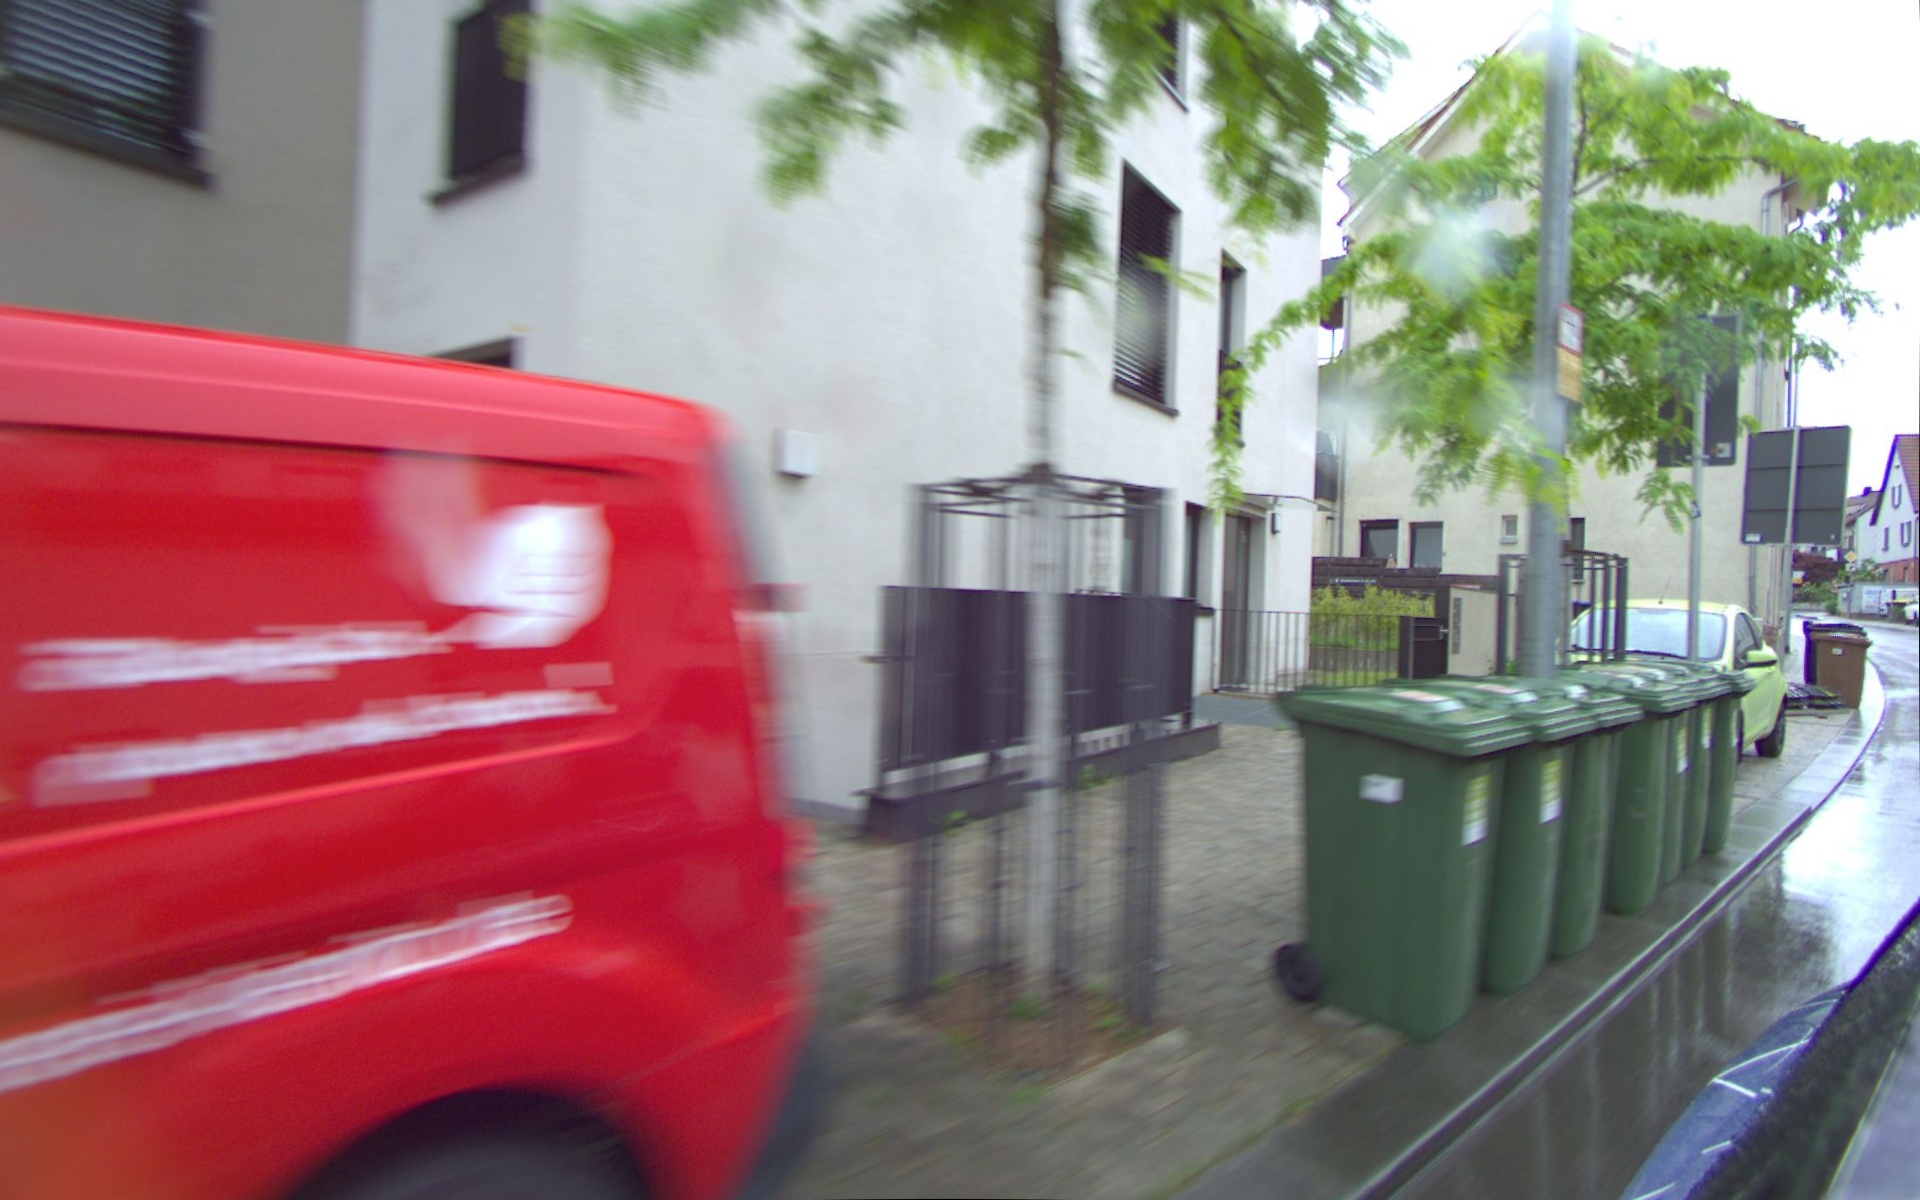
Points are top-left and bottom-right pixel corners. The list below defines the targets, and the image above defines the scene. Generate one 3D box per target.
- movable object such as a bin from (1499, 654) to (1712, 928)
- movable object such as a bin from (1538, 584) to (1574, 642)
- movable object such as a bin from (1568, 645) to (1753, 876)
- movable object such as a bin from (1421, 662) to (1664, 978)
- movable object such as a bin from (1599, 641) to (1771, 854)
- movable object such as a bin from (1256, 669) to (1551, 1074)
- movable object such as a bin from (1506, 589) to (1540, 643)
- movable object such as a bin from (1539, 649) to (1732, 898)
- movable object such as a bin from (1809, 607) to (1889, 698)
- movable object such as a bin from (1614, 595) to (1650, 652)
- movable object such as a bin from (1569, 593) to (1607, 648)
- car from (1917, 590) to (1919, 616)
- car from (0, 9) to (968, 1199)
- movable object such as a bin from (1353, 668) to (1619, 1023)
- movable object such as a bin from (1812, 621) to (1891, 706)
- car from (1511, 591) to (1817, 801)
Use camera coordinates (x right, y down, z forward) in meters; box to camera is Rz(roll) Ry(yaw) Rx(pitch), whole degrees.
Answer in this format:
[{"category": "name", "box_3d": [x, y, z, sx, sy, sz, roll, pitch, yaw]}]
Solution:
[{"category": "movable object such as a bin", "box_3d": [3.044, 0.839, 4.783, 0.591, 1.101, 0.710, 1, 1, -44]}, {"category": "movable object such as a bin", "box_3d": [13.024, 0.270, 22.142, 0.580, 1.199, 0.714, 4, 3, 28]}, {"category": "movable object such as a bin", "box_3d": [3.842, 0.830, 5.558, 0.591, 1.101, 0.710, 1, 1, -44]}, {"category": "movable object such as a bin", "box_3d": [2.425, 0.848, 4.230, 0.591, 1.101, 0.710, 1, 1, -41]}, {"category": "movable object such as a bin", "box_3d": [4.282, 0.825, 5.983, 0.591, 1.101, 0.710, 1, 1, -44]}, {"category": "movable object such as a bin", "box_3d": [1.486, 0.825, 3.421, 0.591, 1.101, 0.710, 1, 1, -41]}, {"category": "movable object such as a bin", "box_3d": [12.466, 0.338, 22.405, 0.580, 1.122, 0.714, 4, 3, 28]}, {"category": "movable object such as a bin", "box_3d": [3.441, 0.834, 5.169, 0.507, 1.101, 0.703, 1, 1, -44]}, {"category": "movable object such as a bin", "box_3d": [13.885, 0.788, 15.797, 0.796, 1.263, 1.224, 5, 4, 44]}, {"category": "movable object such as a bin", "box_3d": [14.246, 0.490, 21.469, 0.506, 1.122, 0.714, 4, 3, 28]}, {"category": "movable object such as a bin", "box_3d": [13.560, 0.433, 21.867, 0.580, 1.122, 0.714, 4, 3, 28]}, {"category": "car", "box_3d": [54.128, 0.186, 55.361, 1.987, 1.464, 3.950, 0, 1, 35]}, {"category": "car", "box_3d": [-2.319, 0.322, 1.168, 4.522, 1.930, 1.840, -1, 3, -40]}, {"category": "movable object such as a bin", "box_3d": [1.984, 0.850, 3.836, 0.591, 1.101, 0.710, 1, 1, -41]}, {"category": "movable object such as a bin", "box_3d": [13.025, 0.907, 14.790, 0.761, 1.122, 0.797, 5, 4, 45]}, {"category": "car", "box_3d": [6.772, 0.723, 9.606, 3.573, 1.544, 1.640, -1, 2, -43]}]
